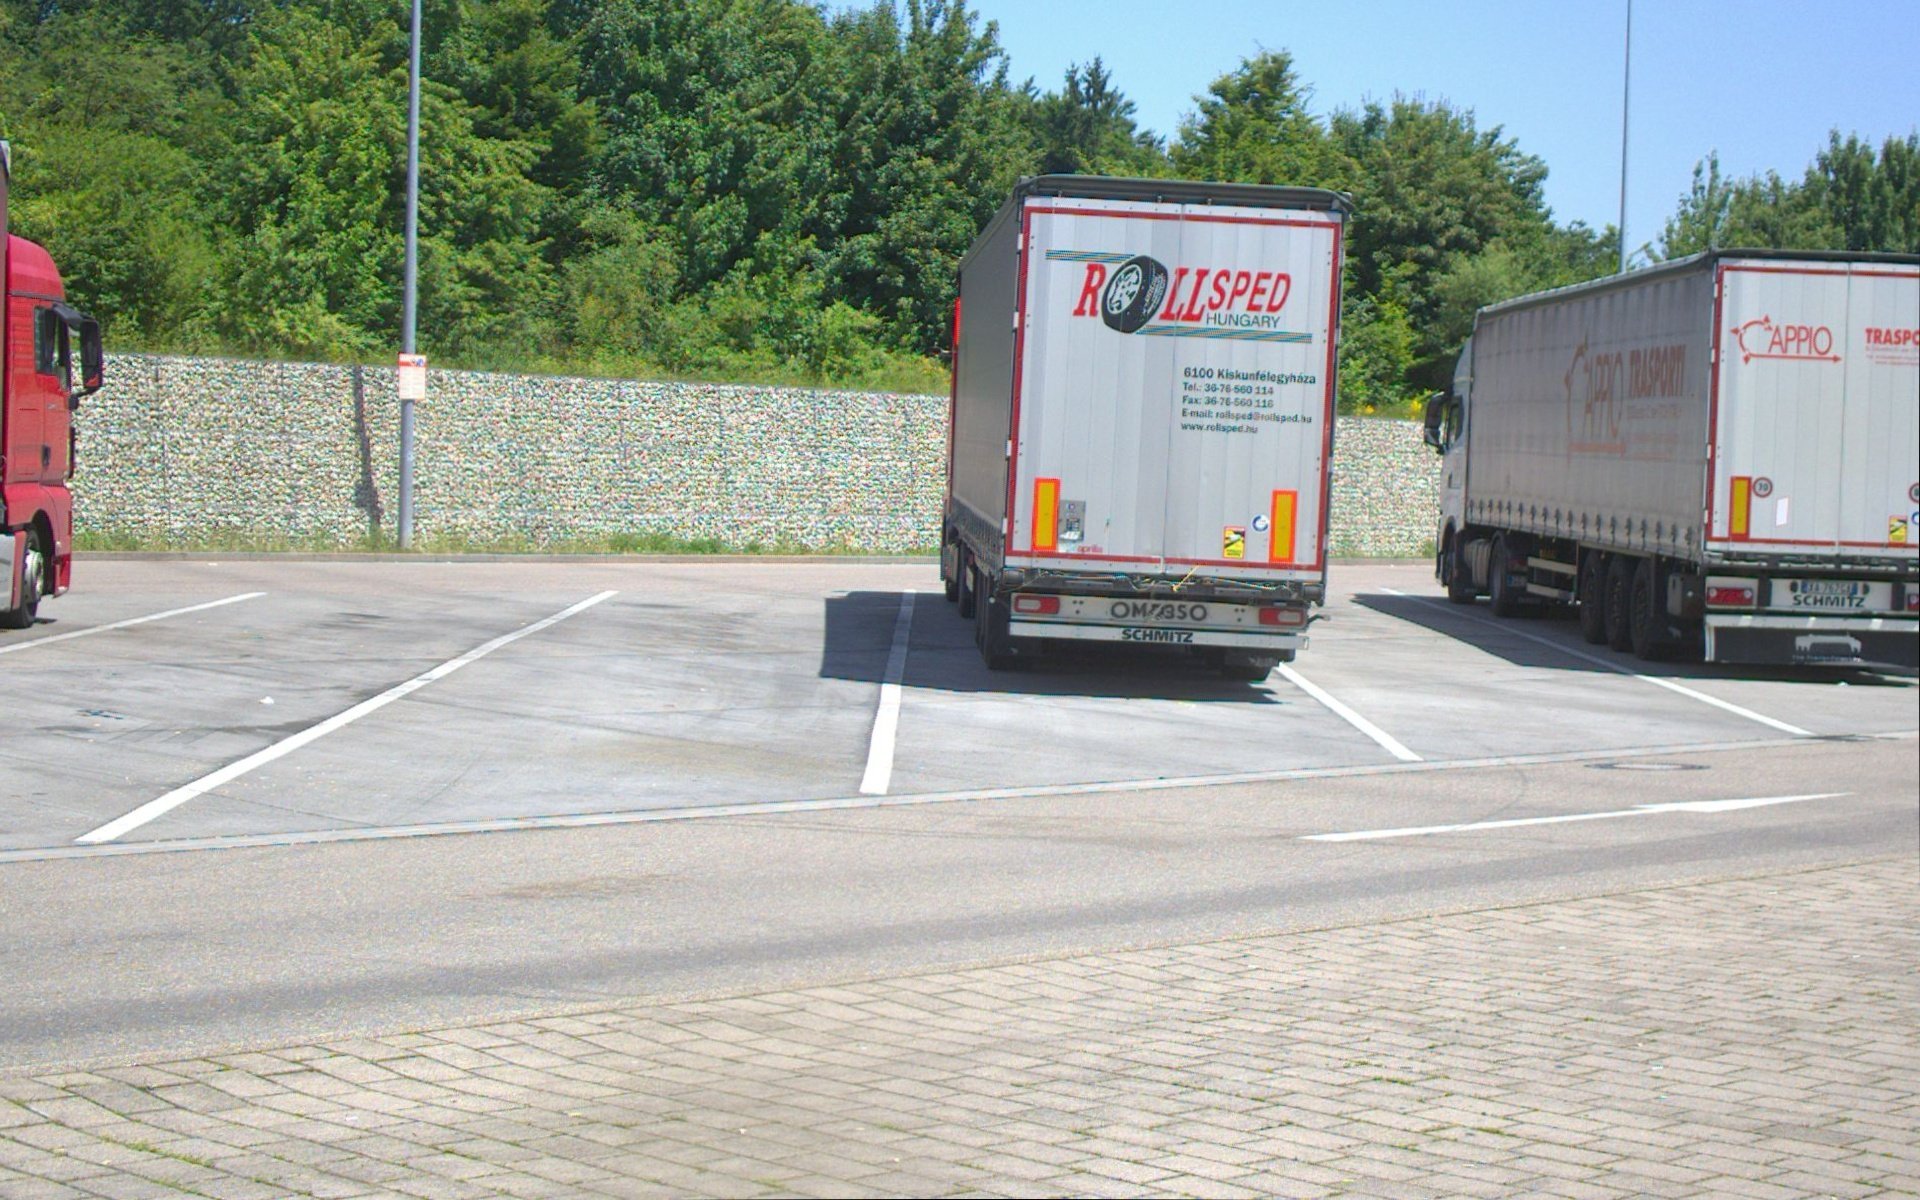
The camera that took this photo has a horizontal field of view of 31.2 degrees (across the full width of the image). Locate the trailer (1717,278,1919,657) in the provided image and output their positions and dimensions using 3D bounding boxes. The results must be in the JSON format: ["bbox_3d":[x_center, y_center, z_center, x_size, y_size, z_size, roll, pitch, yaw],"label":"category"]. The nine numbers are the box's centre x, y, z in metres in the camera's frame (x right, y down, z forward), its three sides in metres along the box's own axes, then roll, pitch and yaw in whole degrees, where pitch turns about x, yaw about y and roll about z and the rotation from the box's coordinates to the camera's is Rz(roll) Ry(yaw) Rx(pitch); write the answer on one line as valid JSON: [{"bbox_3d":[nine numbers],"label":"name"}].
[{"bbox_3d":[11.792,-1.501,39.363,2.858,4.095,13.765,2,3,-1],"label":"trailer"}]

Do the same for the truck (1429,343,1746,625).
[{"bbox_3d":[8.094,-1.566,45.117,2.865,3.351,5.975,2,3,-1],"label":"truck"}]

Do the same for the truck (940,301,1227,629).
[{"bbox_3d":[1.282,-1.570,39.299,2.865,3.351,5.975,2,3,-1],"label":"truck"}]

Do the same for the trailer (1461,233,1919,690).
[{"bbox_3d":[8.195,-1.586,38.351,2.858,4.095,13.765,2,3,-1],"label":"trailer"}]

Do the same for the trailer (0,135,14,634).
[{"bbox_3d":[-9.159,-1.463,21.358,2.821,4.057,13.765,2,3,-1],"label":"trailer"}]

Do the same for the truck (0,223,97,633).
[{"bbox_3d":[-9.246,-1.453,28.177,2.812,3.351,5.975,2,3,-1],"label":"truck"}]

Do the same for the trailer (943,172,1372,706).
[{"bbox_3d":[1.465,-1.565,33.098,2.858,3.958,13.765,2,3,-1],"label":"trailer"}]
